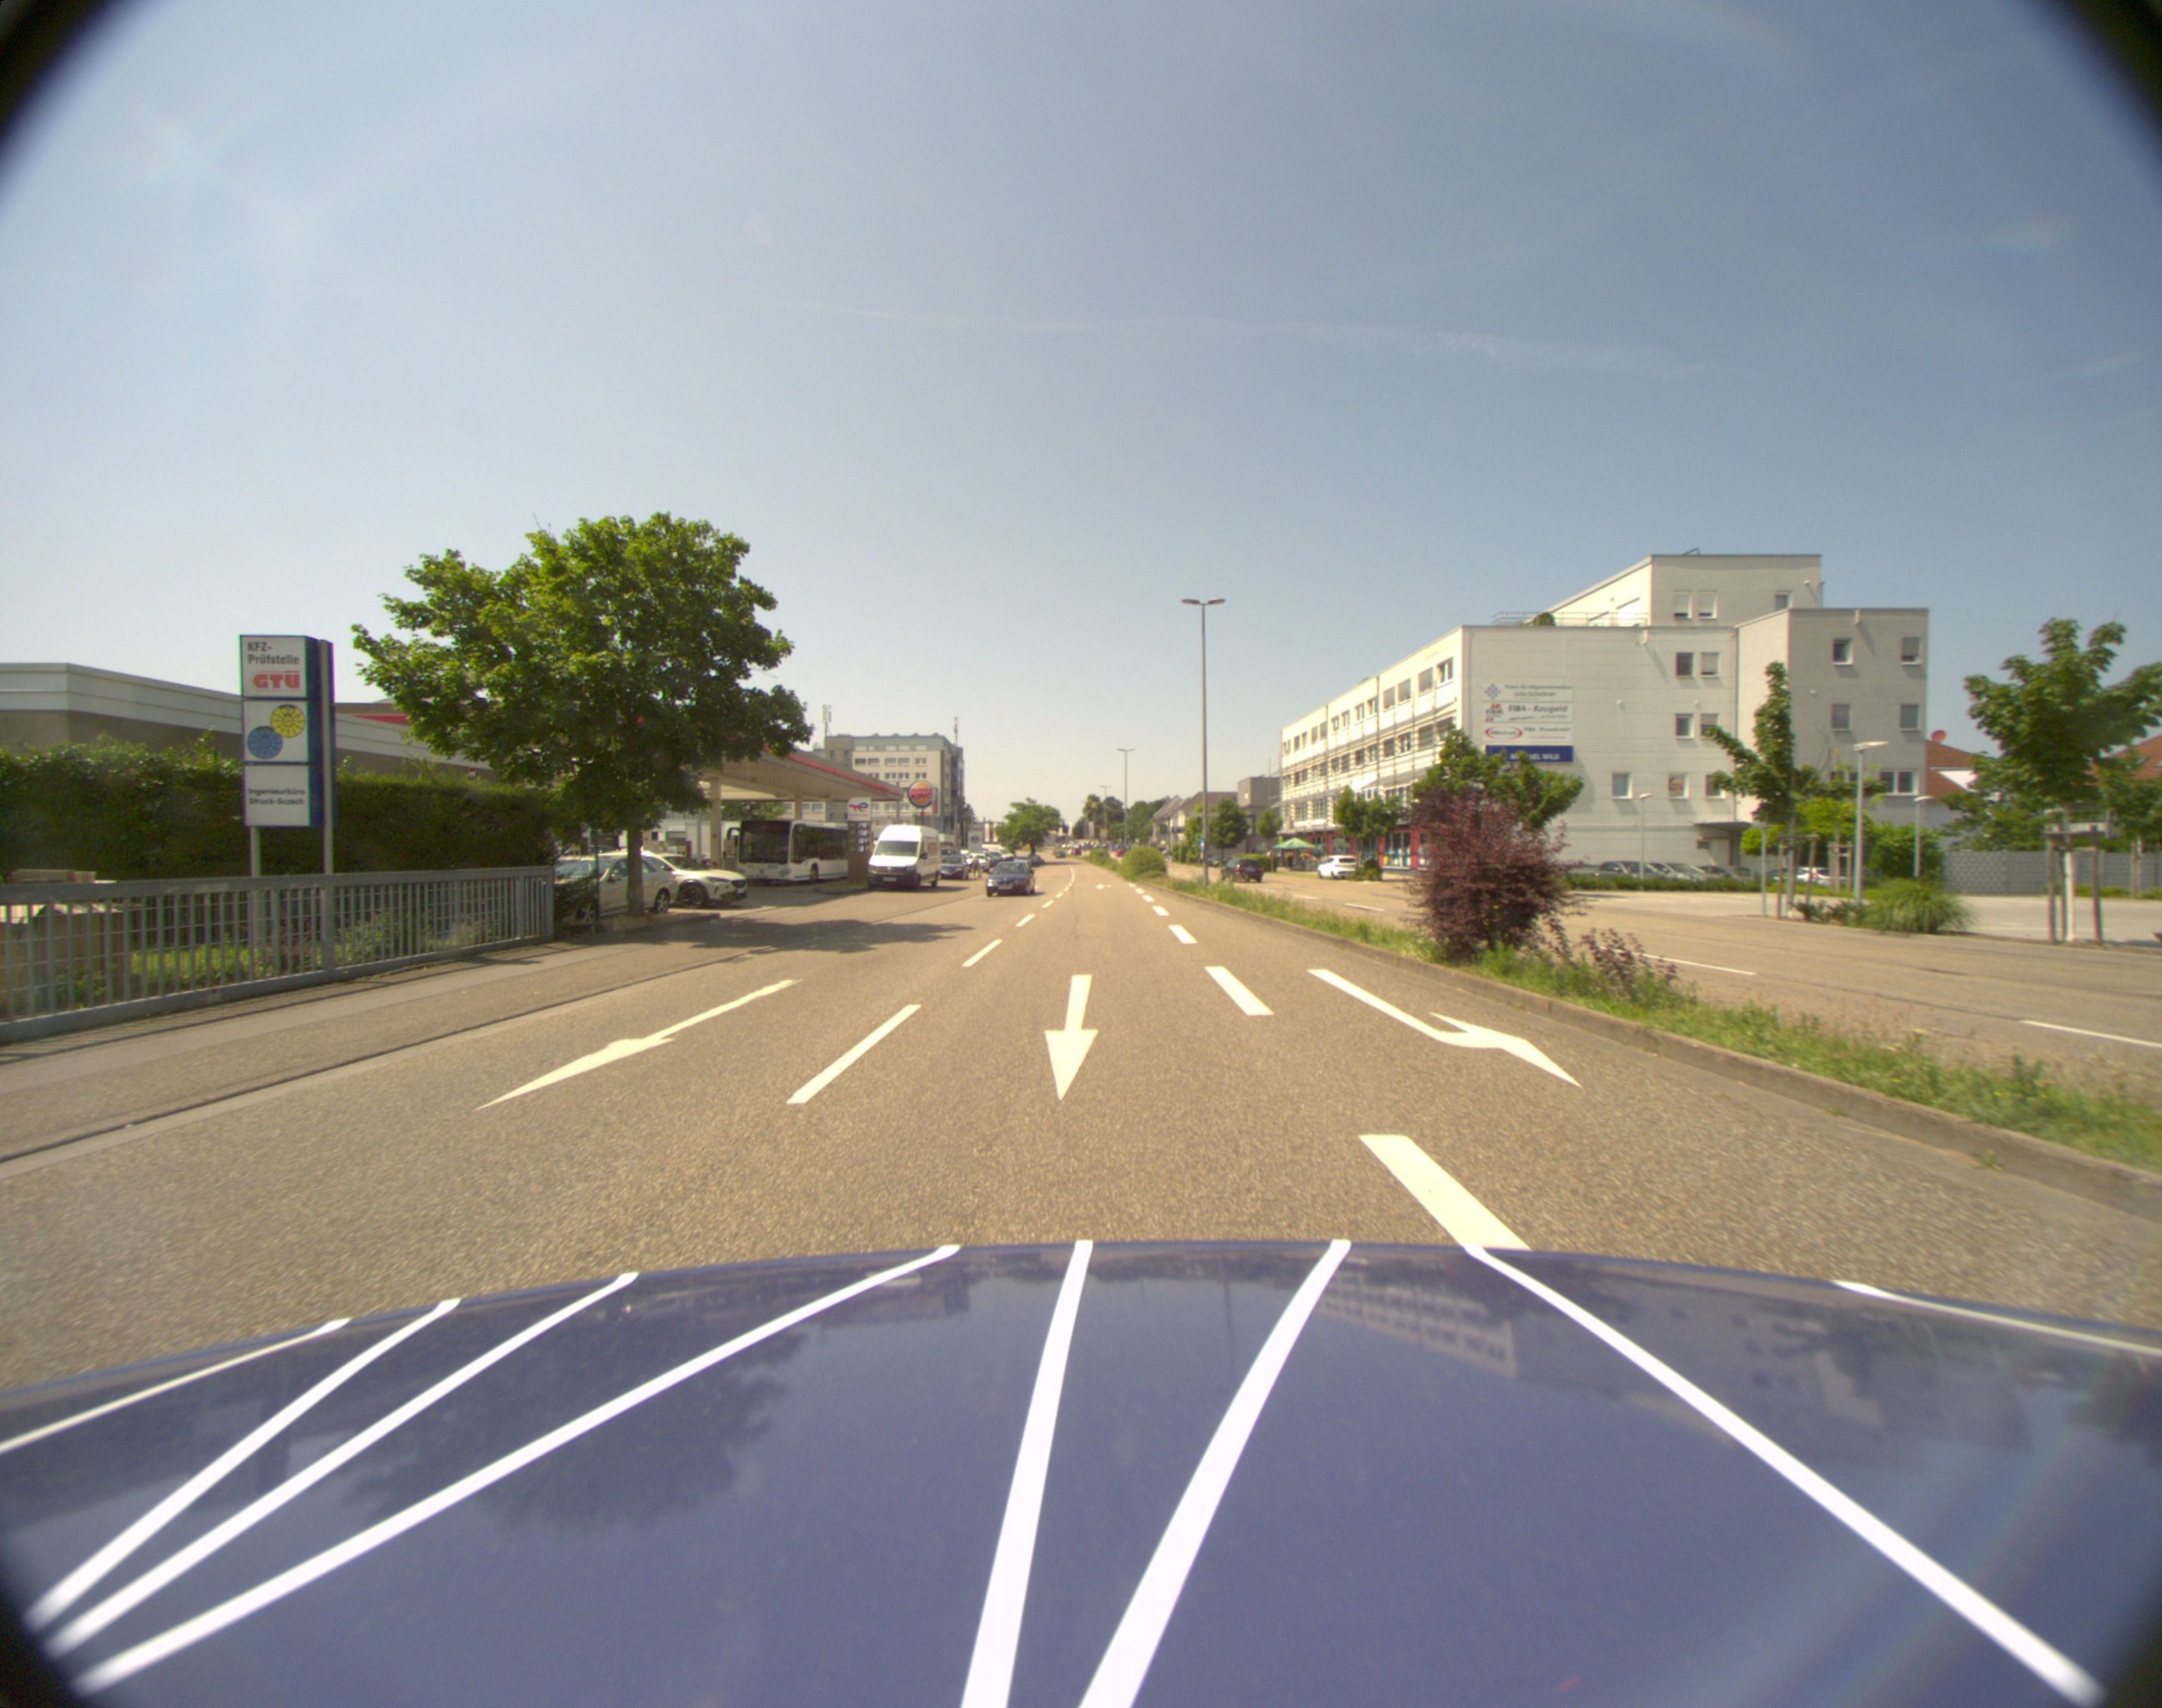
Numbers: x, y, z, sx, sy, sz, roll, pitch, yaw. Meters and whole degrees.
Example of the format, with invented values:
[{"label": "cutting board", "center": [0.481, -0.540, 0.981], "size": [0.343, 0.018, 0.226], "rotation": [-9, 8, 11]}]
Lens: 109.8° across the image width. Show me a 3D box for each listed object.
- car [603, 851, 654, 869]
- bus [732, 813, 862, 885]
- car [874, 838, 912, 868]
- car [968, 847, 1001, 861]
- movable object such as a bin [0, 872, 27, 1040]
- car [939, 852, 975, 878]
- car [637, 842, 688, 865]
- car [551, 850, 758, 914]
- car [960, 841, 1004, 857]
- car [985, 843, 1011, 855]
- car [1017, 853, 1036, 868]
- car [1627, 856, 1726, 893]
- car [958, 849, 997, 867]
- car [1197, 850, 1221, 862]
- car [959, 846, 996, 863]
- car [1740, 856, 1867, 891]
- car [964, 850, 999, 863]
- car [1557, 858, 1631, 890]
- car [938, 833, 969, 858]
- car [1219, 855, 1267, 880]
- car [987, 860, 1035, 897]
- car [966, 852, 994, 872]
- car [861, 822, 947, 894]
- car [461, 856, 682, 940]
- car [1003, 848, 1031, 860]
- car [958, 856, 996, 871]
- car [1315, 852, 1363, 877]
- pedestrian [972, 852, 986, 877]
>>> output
[{"label": "car", "center": [-38.407, 0.461, 64.637], "size": [1.843, 1.496, 4.205], "rotation": [0, 0, 0]}, {"label": "bus", "center": [-13.656, -0.257, 37.567], "size": [2.756, 3.134, 9.078], "rotation": [0, 1, 2]}, {"label": "car", "center": [-16.003, -0.115, 64.961], "size": [2.058, 2.421, 5.573], "rotation": [0, 1, -2]}, {"label": "car", "center": [-11.867, 0.000, 93.811], "size": [3.999, 1.776, 1.724], "rotation": [0, 1, -6]}, {"label": "movable object such as a bin", "center": [-9.957, 0.891, 6.013], "size": [1.133, 1.461, 1.489], "rotation": [0, 1, 0]}, {"label": "car", "center": [-7.640, 0.661, 47.203], "size": [1.681, 1.440, 3.840], "rotation": [2, 0, -2]}, {"label": "car", "center": [-35.198, -0.073, 64.025], "size": [1.999, 1.820, 4.205], "rotation": [0, 1, 0]}, {"label": "car", "center": [-11.667, 0.729, 21.008], "size": [4.633, 1.518, 1.907], "rotation": [2, 1, 1]}, {"label": "car", "center": [-15.919, -0.776, 122.537], "size": [6.877, 2.589, 1.727], "rotation": [0, 1, 13]}, {"label": "car", "center": [-13.073, -0.794, 119.233], "size": [3.999, 1.755, 1.724], "rotation": [0, 1, -6]}, {"label": "car", "center": [-5.643, 0.653, 79.056], "size": [1.867, 1.550, 3.999], "rotation": [0, 1, -1]}, {"label": "car", "center": [25.759, 0.845, 33.003], "size": [1.557, 1.510, 3.556], "rotation": [0, 1, 2]}, {"label": "car", "center": [-10.998, 0.388, 81.041], "size": [3.999, 1.907, 1.724], "rotation": [0, 1, -6]}, {"label": "car", "center": [16.221, 0.248, 96.509], "size": [2.737, 1.404, 1.445], "rotation": [0, 1, 0]}, {"label": "car", "center": [-11.761, 0.080, 86.470], "size": [3.999, 1.906, 1.724], "rotation": [0, 1, -6]}, {"label": "car", "center": [31.071, 0.812, 32.842], "size": [1.924, 1.376, 3.833], "rotation": [0, 0, 2]}, {"label": "car", "center": [-11.654, 0.288, 89.236], "size": [3.999, 1.440, 1.724], "rotation": [0, 1, -6]}, {"label": "car", "center": [22.938, 0.883, 34.062], "size": [1.456, 1.332, 2.833], "rotation": [0, 1, 2]}, {"label": "car", "center": [-10.812, -0.718, 64.781], "size": [1.999, 2.002, 3.999], "rotation": [0, 1, -1]}, {"label": "car", "center": [9.985, 0.803, 47.199], "size": [1.833, 1.452, 4.711], "rotation": [0, 1, -2]}, {"label": "car", "center": [-2.788, 0.966, 30.988], "size": [1.632, 1.331, 3.756], "rotation": [-1, 0, -1]}, {"label": "car", "center": [-8.680, 0.664, 65.368], "size": [1.860, 1.572, 3.999], "rotation": [2, 1, -1]}, {"label": "car", "center": [-7.579, 0.134, 33.419], "size": [2.183, 2.758, 7.276], "rotation": [2, 0, -1]}, {"label": "car", "center": [-10.799, 0.834, 16.620], "size": [1.798, 1.458, 4.636], "rotation": [2, 1, -2]}, {"label": "car", "center": [-9.490, -0.004, 112.435], "size": [3.999, 1.755, 1.724], "rotation": [0, 1, -6]}, {"label": "car", "center": [-11.401, 1.005, 83.470], "size": [3.999, 1.568, 1.724], "rotation": [0, 1, -6]}, {"label": "car", "center": [16.422, 0.633, 48.454], "size": [1.696, 1.440, 3.664], "rotation": [-1, 1, -2]}, {"label": "pedestrian", "center": [-6.449, 0.671, 48.149], "size": [0.704, 1.572, 0.820], "rotation": [3, 1, -2]}]
